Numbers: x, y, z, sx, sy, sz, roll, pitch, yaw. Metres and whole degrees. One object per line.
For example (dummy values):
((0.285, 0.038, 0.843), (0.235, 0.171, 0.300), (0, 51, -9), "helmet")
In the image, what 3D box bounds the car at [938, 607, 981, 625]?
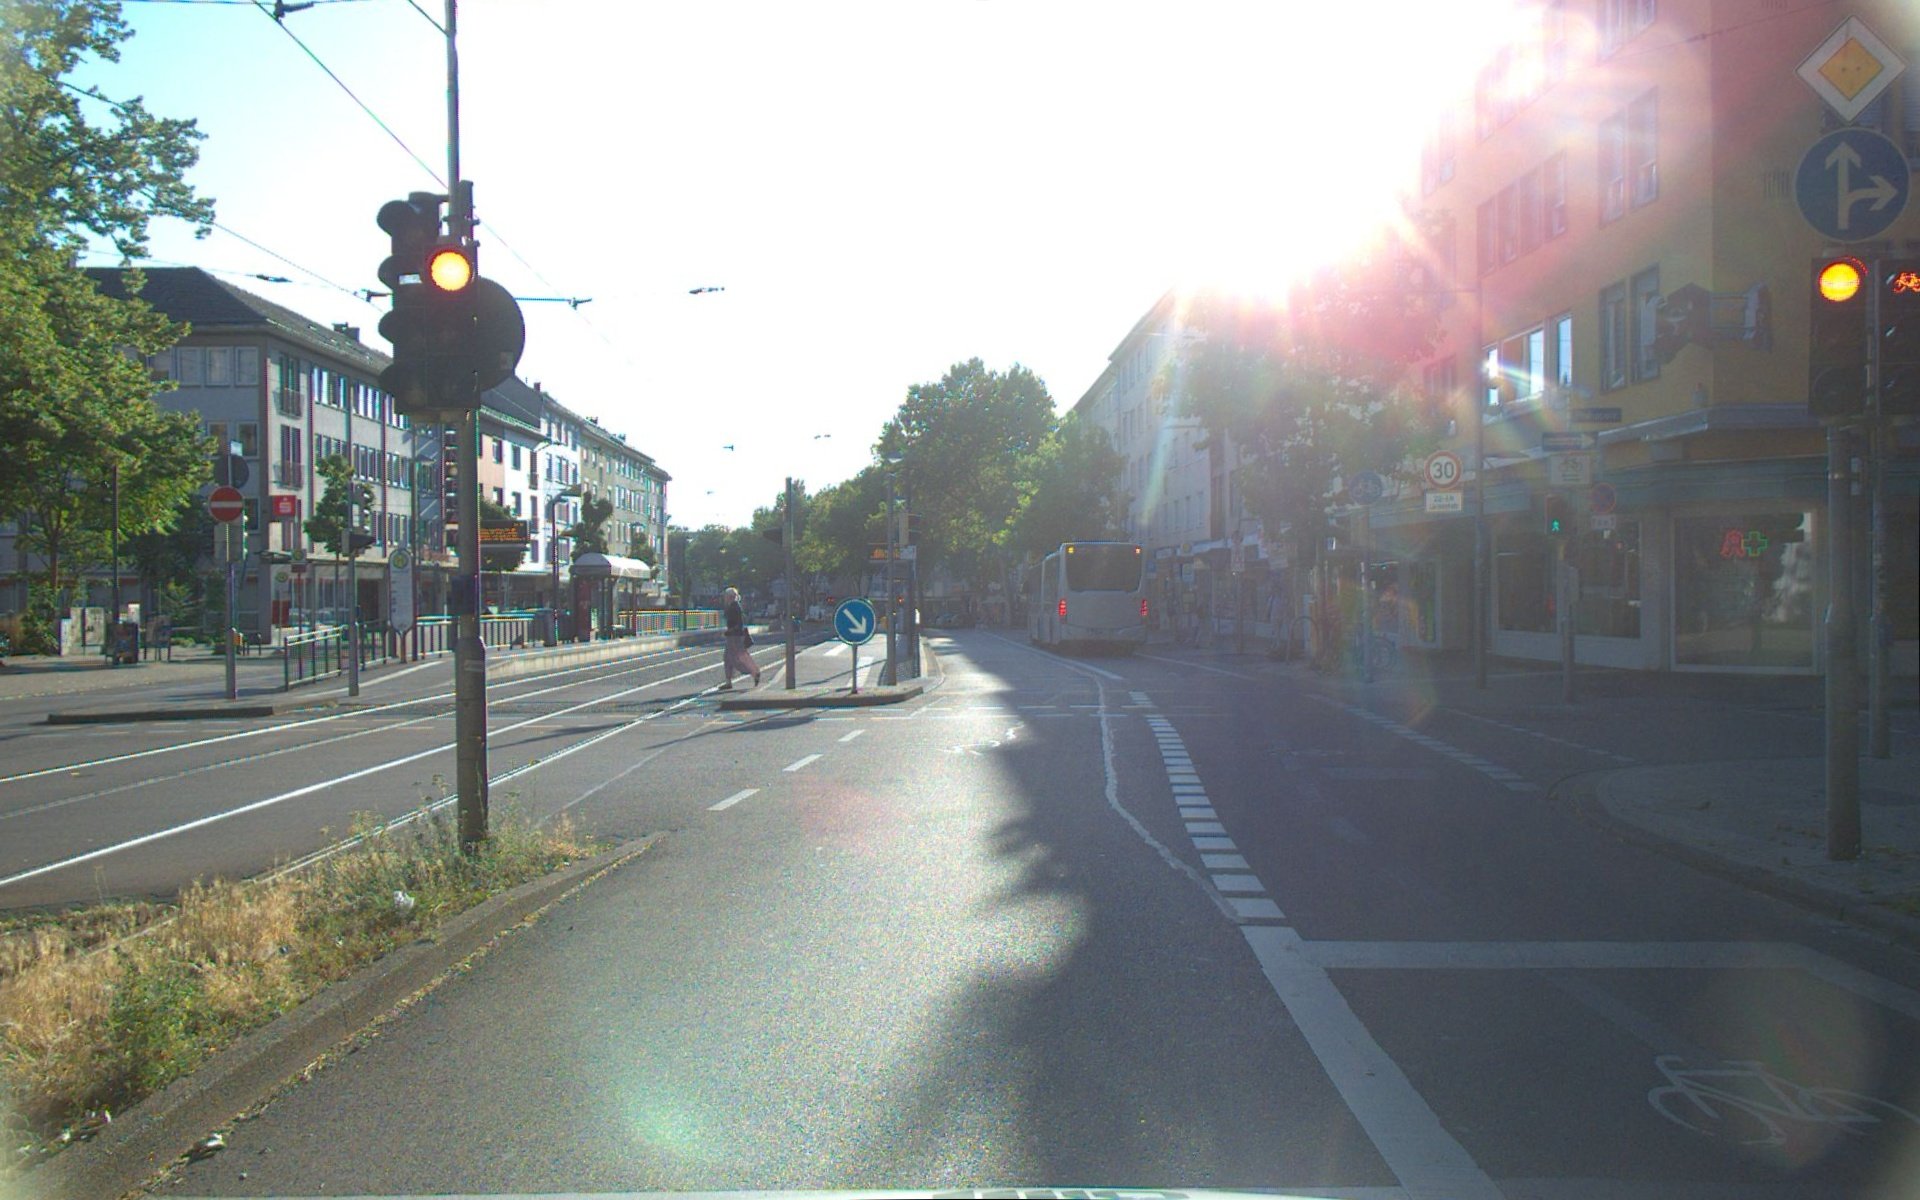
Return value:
((-0.055, 1.549, 161.297), (3.848, 1.729, 1.815), (-1, 0, -30), "car")

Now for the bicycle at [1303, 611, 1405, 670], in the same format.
((7.468, 0.757, 31.421), (1.737, 1.039, 0.694), (-2, 0, -2), "bicycle")

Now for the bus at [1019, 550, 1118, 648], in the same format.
((3.732, -0.033, 58.975), (2.755, 3.156, 9.092), (1, 0, -1), "bus")

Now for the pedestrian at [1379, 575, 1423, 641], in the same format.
((13.892, 0.247, 52.144), (0.981, 2.049, 0.916), (-1, 0, -39), "pedestrian")

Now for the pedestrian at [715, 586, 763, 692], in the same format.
((-3.871, 0.677, 29.032), (0.666, 1.801, 0.687), (-3, 0, 0), "pedestrian")

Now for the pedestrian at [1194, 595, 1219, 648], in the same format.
((7.785, 0.681, 52.250), (0.662, 1.656, 0.655), (1, 0, 0), "pedestrian")

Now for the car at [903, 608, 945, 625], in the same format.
((-3.609, 1.622, 166.315), (3.848, 1.624, 1.674), (-1, 0, -30), "car")

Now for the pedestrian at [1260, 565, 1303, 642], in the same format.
((8.755, 0.103, 45.112), (0.934, 2.049, 0.917), (1, 0, -3), "pedestrian")

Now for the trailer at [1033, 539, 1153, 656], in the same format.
((3.871, -0.060, 50.030), (2.755, 3.165, 8.792), (1, 0, -1), "trailer")

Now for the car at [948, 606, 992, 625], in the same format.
((0.977, 1.502, 158.711), (3.848, 1.729, 1.815), (-1, 0, -30), "car")
